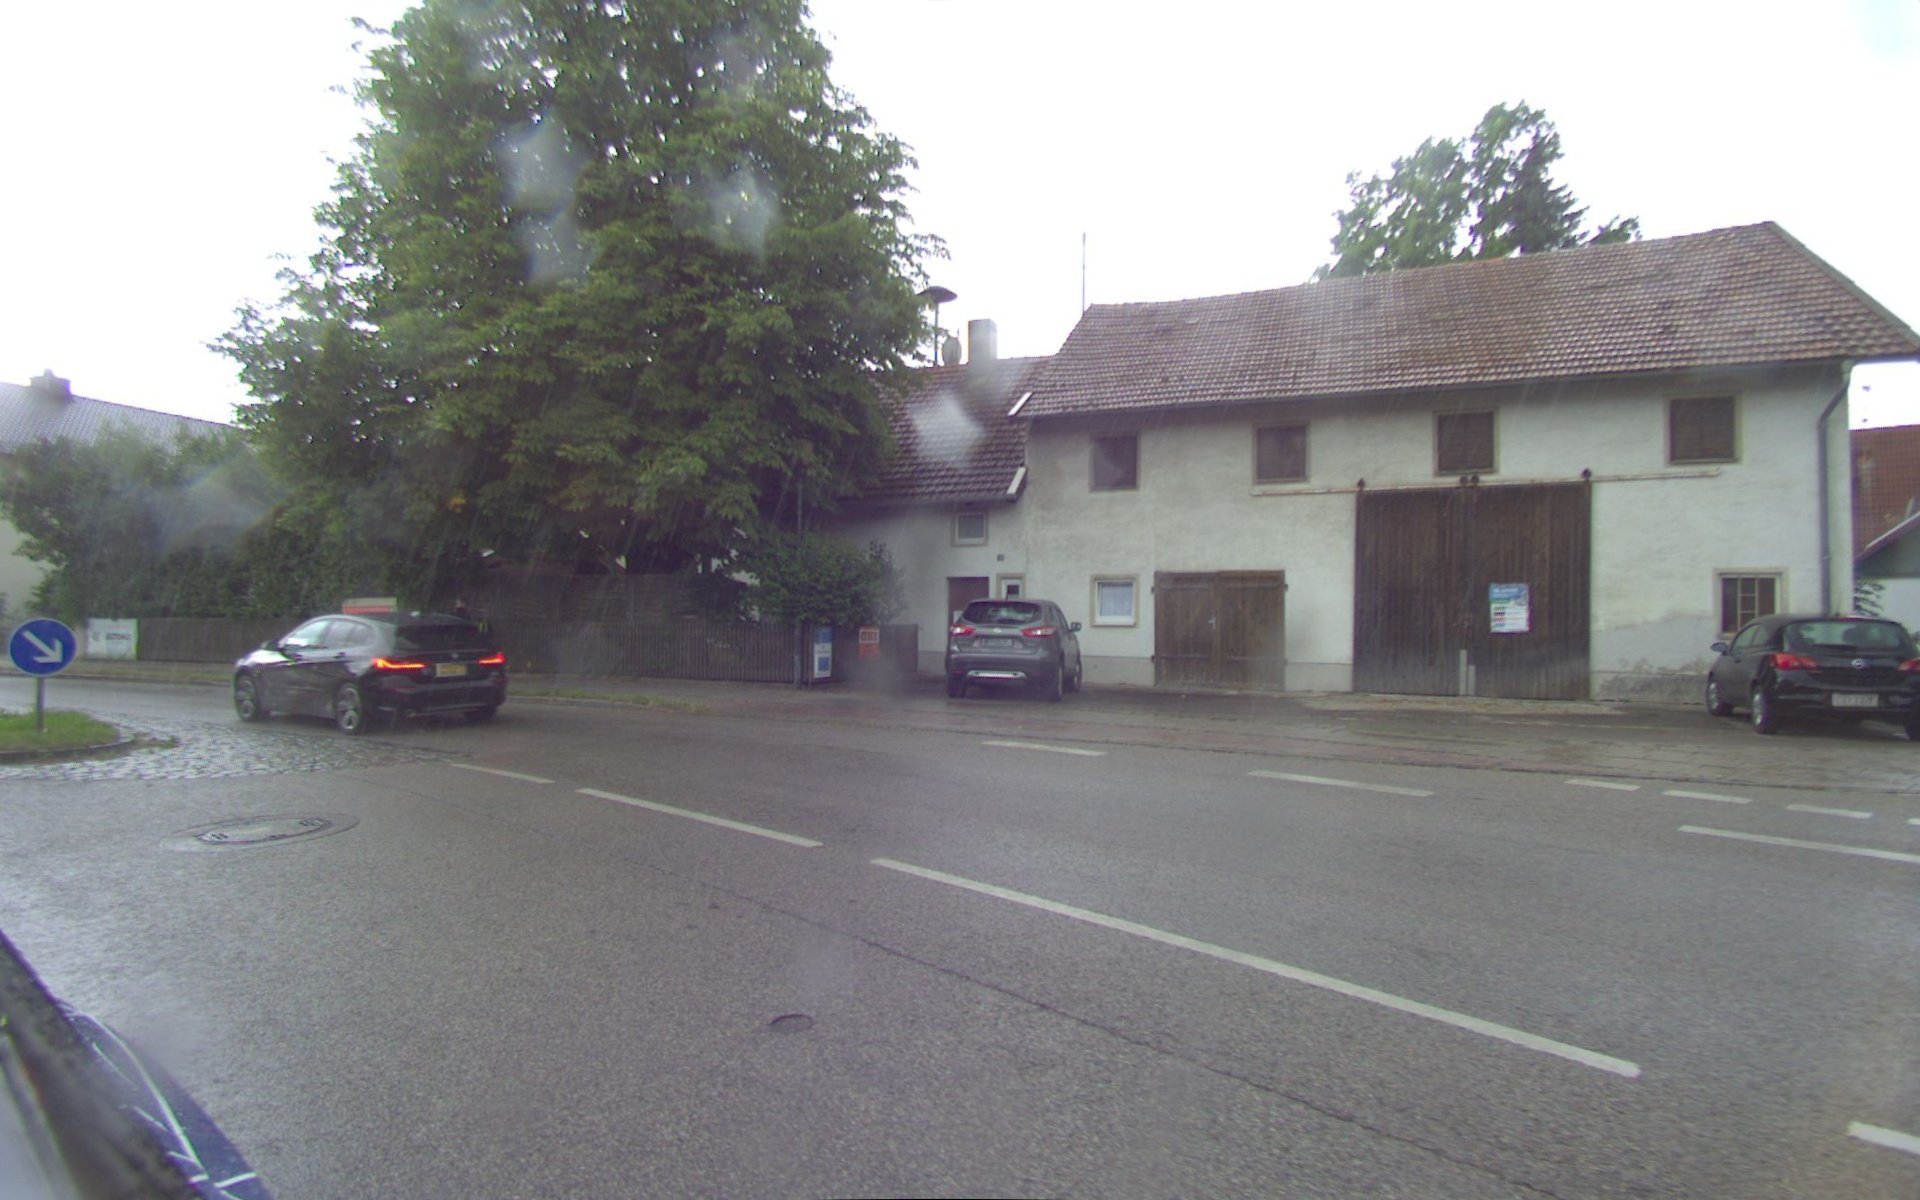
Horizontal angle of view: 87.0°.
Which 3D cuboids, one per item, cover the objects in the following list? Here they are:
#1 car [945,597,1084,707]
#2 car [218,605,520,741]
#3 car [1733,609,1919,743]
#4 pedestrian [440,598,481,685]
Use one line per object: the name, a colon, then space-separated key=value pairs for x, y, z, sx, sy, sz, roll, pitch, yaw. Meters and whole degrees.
car: x=1.035 y=0.849 z=16.797 sx=1.798 sy=1.560 sz=4.267 roll=0 pitch=-3 yaw=10
car: x=-7.684 y=0.843 z=13.067 sx=4.048 sy=1.502 sz=1.797 roll=-1 pitch=-1 yaw=34
car: x=11.120 y=0.859 z=12.976 sx=1.817 sy=1.447 sz=4.228 roll=-1 pitch=-1 yaw=36
pedestrian: x=-9.616 y=0.783 z=19.487 sx=0.642 sy=1.640 sz=0.480 roll=0 pitch=-1 yaw=-20
